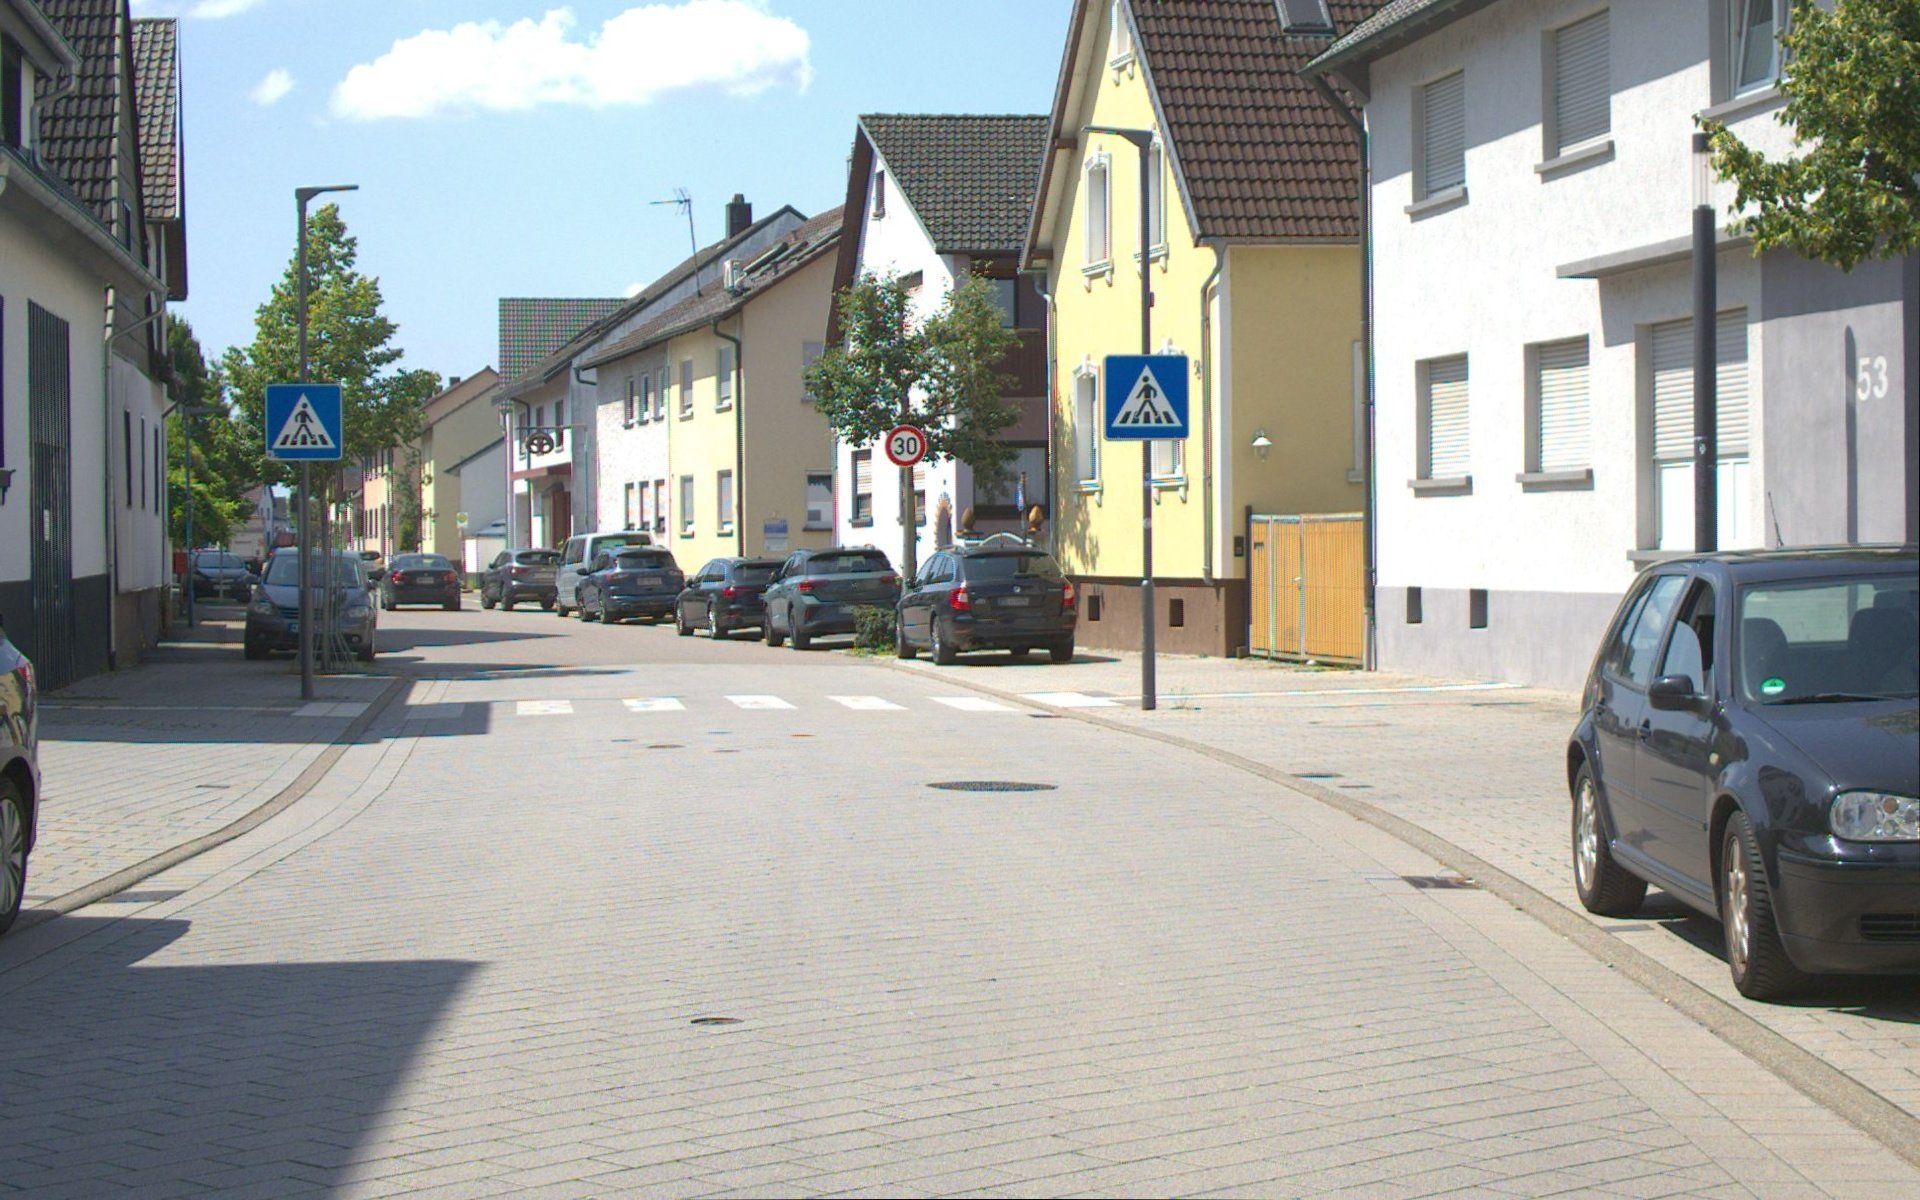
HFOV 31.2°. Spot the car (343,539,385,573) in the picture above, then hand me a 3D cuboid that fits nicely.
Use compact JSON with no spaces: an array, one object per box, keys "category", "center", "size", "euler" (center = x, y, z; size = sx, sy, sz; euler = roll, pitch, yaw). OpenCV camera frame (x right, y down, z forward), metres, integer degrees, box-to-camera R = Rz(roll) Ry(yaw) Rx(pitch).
[{"category":"car","center":[-26.624,-1.983,153.529],"size":[1.687,1.447,3.794],"euler":[-1,1,-11]}]

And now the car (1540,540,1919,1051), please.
[{"category":"car","center":[3.264,0.537,12.130],"size":[1.759,1.433,4.120],"euler":[-2,1,1]}]

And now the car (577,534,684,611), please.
[{"category":"car","center":[-7.165,-0.611,74.505],"size":[1.877,1.586,4.001],"euler":[-1,1,-11]}]

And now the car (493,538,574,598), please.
[{"category":"car","center":[-11.033,-0.851,88.794],"size":[1.753,1.487,4.001],"euler":[-1,1,-11]}]

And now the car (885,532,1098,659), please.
[{"category":"car","center":[0.345,-0.086,44.291],"size":[1.828,1.466,4.277],"euler":[-3,1,-11]}]

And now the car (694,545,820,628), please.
[{"category":"car","center":[-3.634,-0.262,61.039],"size":[1.710,1.382,3.707],"euler":[-1,1,-11]}]

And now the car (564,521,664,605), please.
[{"category":"car","center":[-8.088,-0.884,80.081],"size":[1.906,1.865,4.001],"euler":[-1,1,-11]}]

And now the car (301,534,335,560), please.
[{"category":"car","center":[-37.264,-3.083,199.516],"size":[1.687,1.447,3.794],"euler":[-1,1,-14]}]

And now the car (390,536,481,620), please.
[{"category":"car","center":[-13.386,-0.581,87.582],"size":[1.993,2.051,4.375],"euler":[-1,1,-12]}]

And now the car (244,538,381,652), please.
[{"category":"car","center":[-9.105,-0.099,48.571],"size":[1.746,1.525,4.001],"euler":[0,1,-9]}]

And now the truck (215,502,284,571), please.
[{"category":"truck","center":[-41.949,-3.753,202.780],"size":[3.563,3.940,8.584],"euler":[-1,1,-14]}]

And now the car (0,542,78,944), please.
[{"category":"car","center":[-4.484,0.548,11.678],"size":[1.813,1.485,4.277],"euler":[1,1,1]}]

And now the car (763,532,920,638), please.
[{"category":"car","center":[-1.893,-0.263,53.696],"size":[1.846,1.557,3.695],"euler":[-1,1,-11]}]
